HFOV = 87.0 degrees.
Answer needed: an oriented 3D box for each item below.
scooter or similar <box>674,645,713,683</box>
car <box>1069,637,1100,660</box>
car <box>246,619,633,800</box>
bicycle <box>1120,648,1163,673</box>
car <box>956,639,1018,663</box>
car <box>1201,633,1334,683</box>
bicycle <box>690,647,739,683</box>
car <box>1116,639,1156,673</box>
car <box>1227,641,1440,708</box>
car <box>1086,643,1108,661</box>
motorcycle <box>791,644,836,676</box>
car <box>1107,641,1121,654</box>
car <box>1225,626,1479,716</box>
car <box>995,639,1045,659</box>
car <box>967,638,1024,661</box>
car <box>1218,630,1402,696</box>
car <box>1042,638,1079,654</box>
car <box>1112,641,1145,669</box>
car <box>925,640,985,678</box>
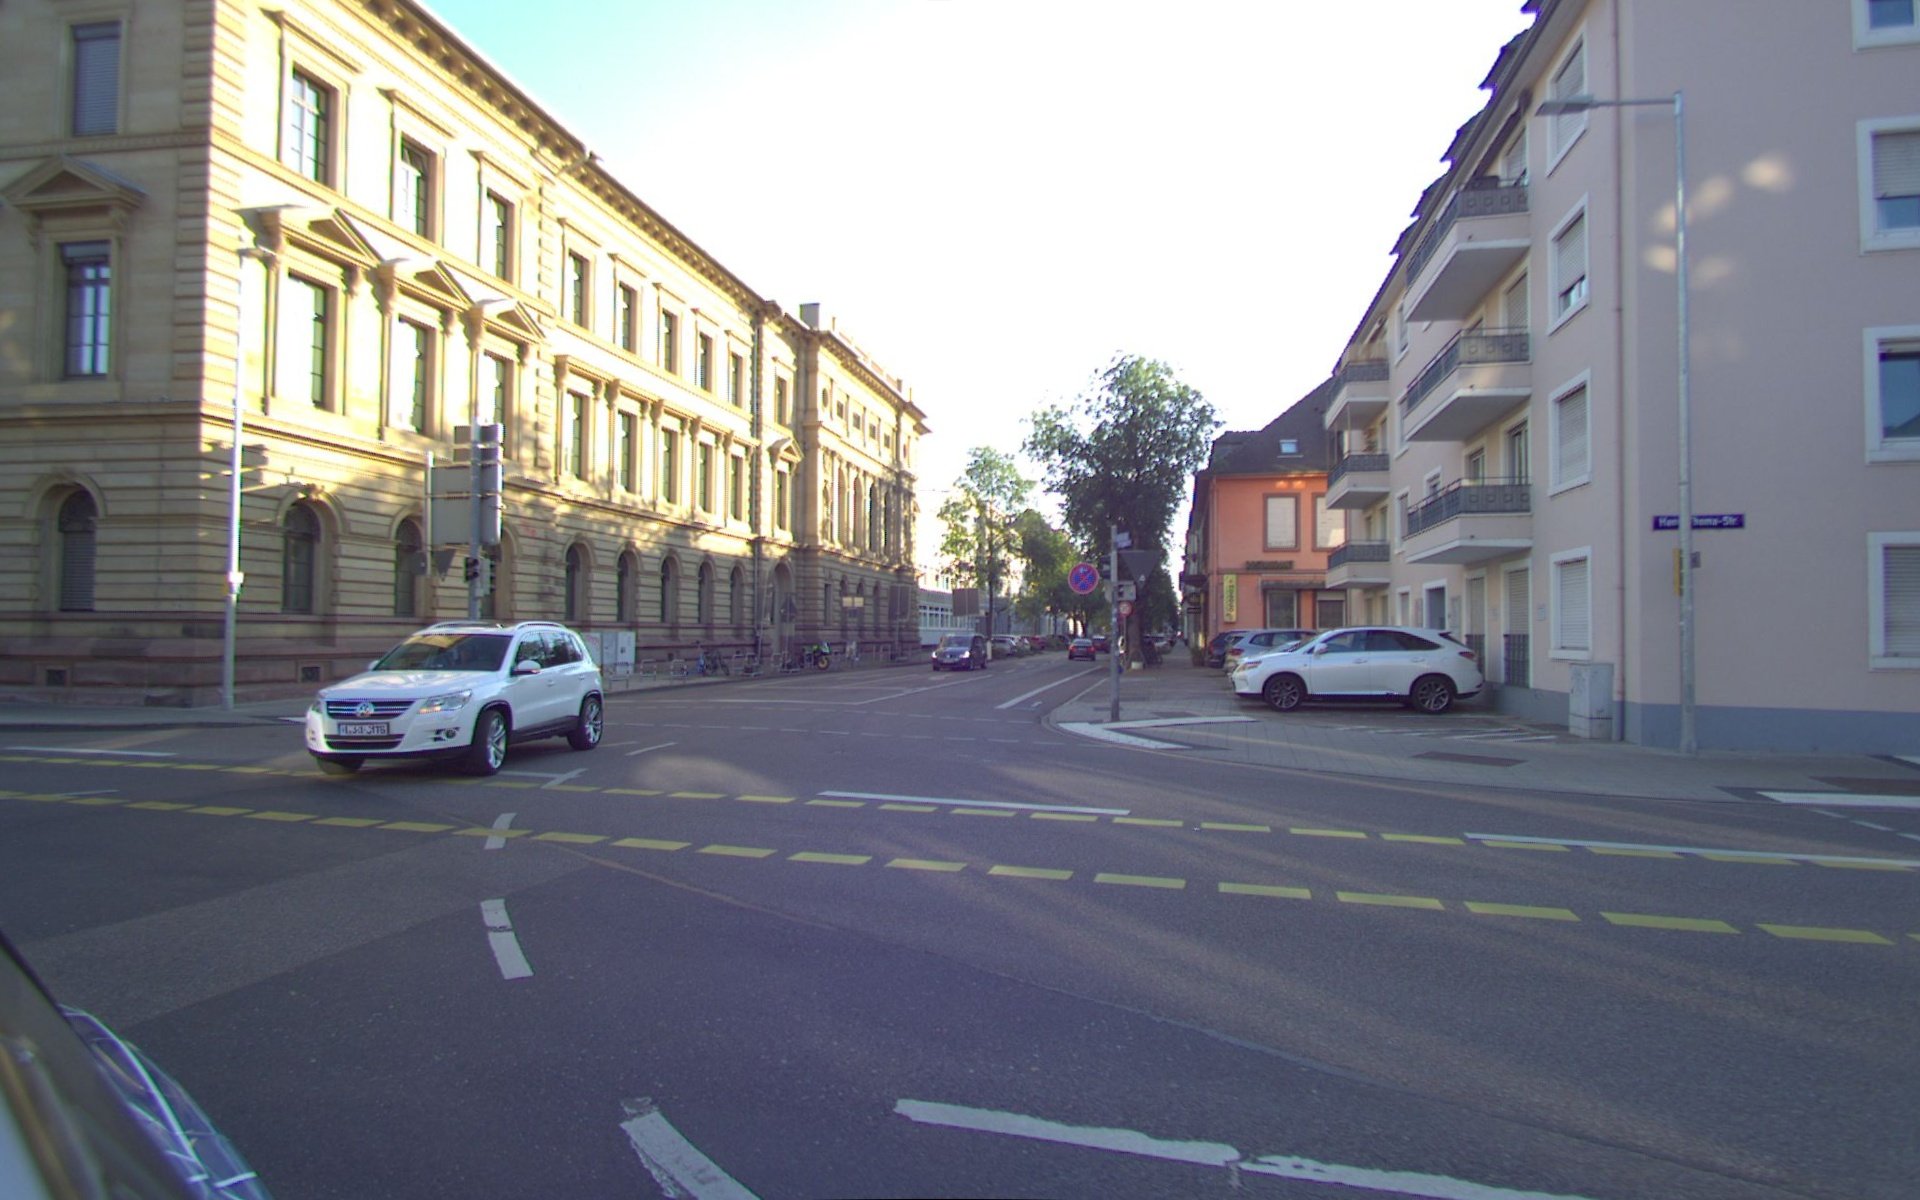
[{"bbox_3d":[-8.922,2.133,33.871,1.130,1.204,0.578,2,-2,31],"label":"scooter or similar"},{"bbox_3d":[8.600,3.319,69.771,1.769,1.470,4.406,1,-2,12],"label":"car"},{"bbox_3d":[-5.717,1.124,11.927,1.934,1.690,4.536,0,-2,5],"label":"car"},{"bbox_3d":[8.177,2.706,45.574,1.850,1.112,0.609,0,-2,7],"label":"bicycle"},{"bbox_3d":[2.018,3.801,75.280,4.327,1.506,1.665,3,-2,13],"label":"car"},{"bbox_3d":[11.085,2.116,36.814,4.386,1.678,1.857,-2,-3,12],"label":"car"},{"bbox_3d":[-8.531,2.240,35.241,0.821,1.143,1.936,3,-2,13],"label":"bicycle"},{"bbox_3d":[10.129,3.197,58.534,1.811,1.773,5.039,-4,-3,6],"label":"car"},{"bbox_3d":[8.339,1.672,22.959,4.236,1.391,1.729,-2,-3,12],"label":"car"},{"bbox_3d":[12.766,4.838,94.219,1.817,1.557,4.830,1,-3,11],"label":"car"},{"bbox_3d":[-6.299,2.569,43.554,2.104,1.224,0.700,1,-2,43],"label":"motorcycle"},{"bbox_3d":[18.393,5.725,121.006,1.644,1.483,3.842,1,-3,9],"label":"car"},{"bbox_3d":[7.703,1.429,20.355,4.408,1.653,1.935,-2,-3,12],"label":"car"},{"bbox_3d":[5.514,4.443,92.237,4.324,1.636,1.728,2,-2,11],"label":"car"},{"bbox_3d":[2.878,3.980,81.691,4.324,1.655,2.047,2,-2,11],"label":"car"},{"bbox_3d":[9.291,1.695,27.246,4.386,1.617,1.909,-2,-3,12],"label":"car"},{"bbox_3d":[12.515,5.676,125.929,4.324,1.888,1.728,1,-2,11],"label":"car"},{"bbox_3d":[11.102,3.578,66.919,1.811,1.681,4.647,-4,-3,6],"label":"car"},{"bbox_3d":[-0.169,2.572,44.632,1.931,1.567,3.986,0,-3,11],"label":"car"}]
